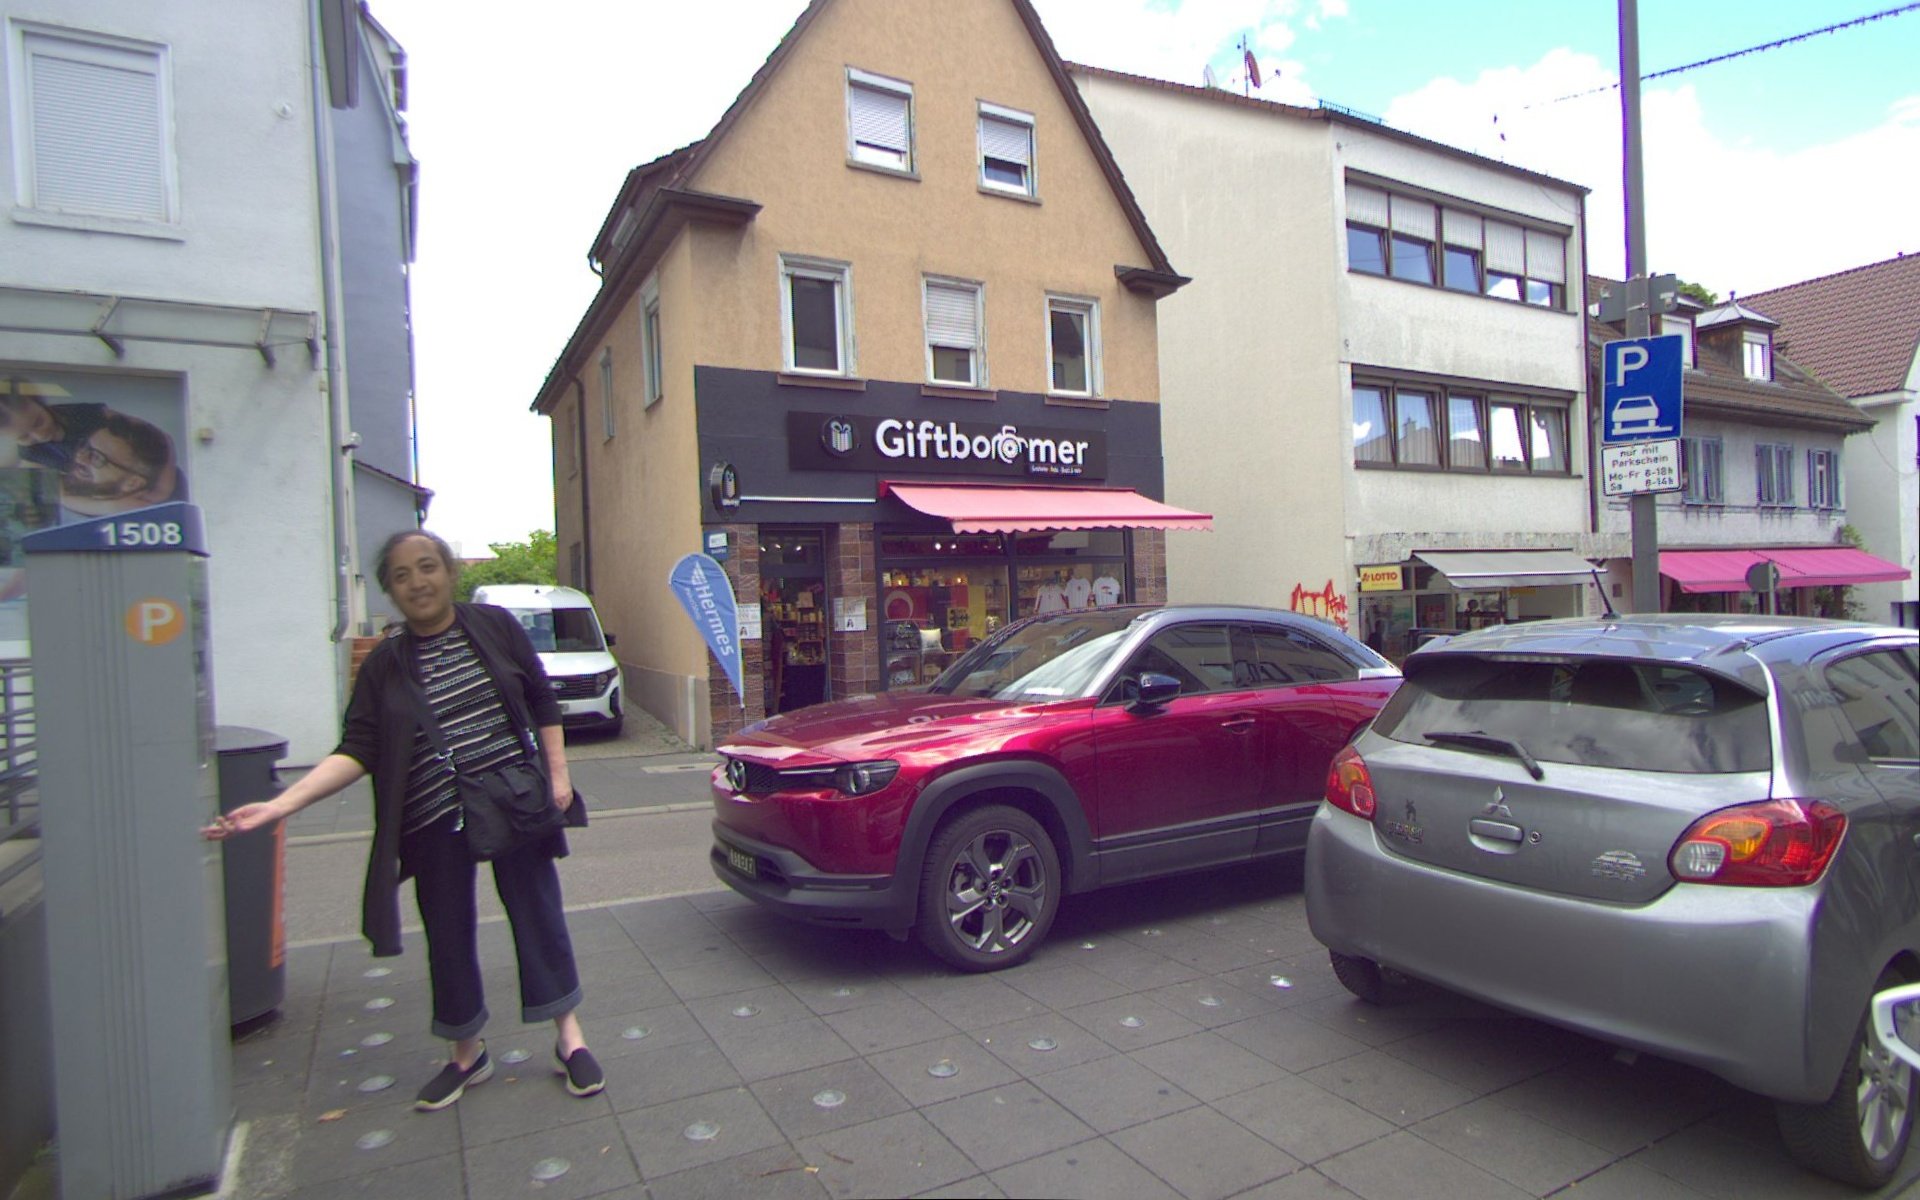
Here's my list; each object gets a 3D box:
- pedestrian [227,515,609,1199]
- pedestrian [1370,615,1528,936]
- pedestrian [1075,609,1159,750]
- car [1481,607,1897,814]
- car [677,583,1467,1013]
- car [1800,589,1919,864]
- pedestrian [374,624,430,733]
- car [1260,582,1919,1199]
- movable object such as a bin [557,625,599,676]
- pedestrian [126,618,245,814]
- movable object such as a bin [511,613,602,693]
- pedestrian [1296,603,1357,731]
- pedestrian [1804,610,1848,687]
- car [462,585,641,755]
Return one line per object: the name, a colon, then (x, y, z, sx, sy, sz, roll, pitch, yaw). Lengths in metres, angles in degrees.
pedestrian: (-1.520, 0.644, 2.908, 0.889, 1.694, 0.531, 0, 0, -28)
pedestrian: (2.371, 0.809, 4.887, 0.486, 1.450, 0.464, 1, -3, -30)
pedestrian: (1.988, 0.978, 12.722, 0.817, 1.711, 0.636, 1, -1, -28)
car: (6.698, 0.859, 9.155, 3.840, 1.495, 1.730, 1, 0, -32)
car: (0.756, 0.790, 5.514, 4.146, 1.563, 1.730, 1, -2, -32)
car: (7.817, 0.811, 6.863, 4.266, 1.661, 1.946, 1, 0, -32)
pedestrian: (-7.171, 0.991, 12.905, 0.600, 1.336, 0.622, 1, 0, -31)
car: (3.067, 0.767, 3.905, 3.628, 1.553, 1.612, 1, 0, -31)
movable object such as a bin: (-7.049, 0.916, 18.527, 0.565, 0.916, 0.793, 1, -1, -34)
pedestrian: (-6.617, 0.960, 8.618, 0.708, 1.594, 0.562, 1, -3, -30)
movable object such as a bin: (-8.168, 1.023, 20.263, 1.254, 1.498, 2.290, 1, -1, -34)
pedestrian: (5.042, 0.910, 13.847, 0.653, 1.711, 0.646, -1, -1, 10)
pedestrian: (19.871, 1.101, 23.048, 0.570, 1.711, 0.575, 1, 0, -31)
car: (-5.667, 0.779, 13.635, 1.860, 1.898, 4.054, 1, 1, -28)
